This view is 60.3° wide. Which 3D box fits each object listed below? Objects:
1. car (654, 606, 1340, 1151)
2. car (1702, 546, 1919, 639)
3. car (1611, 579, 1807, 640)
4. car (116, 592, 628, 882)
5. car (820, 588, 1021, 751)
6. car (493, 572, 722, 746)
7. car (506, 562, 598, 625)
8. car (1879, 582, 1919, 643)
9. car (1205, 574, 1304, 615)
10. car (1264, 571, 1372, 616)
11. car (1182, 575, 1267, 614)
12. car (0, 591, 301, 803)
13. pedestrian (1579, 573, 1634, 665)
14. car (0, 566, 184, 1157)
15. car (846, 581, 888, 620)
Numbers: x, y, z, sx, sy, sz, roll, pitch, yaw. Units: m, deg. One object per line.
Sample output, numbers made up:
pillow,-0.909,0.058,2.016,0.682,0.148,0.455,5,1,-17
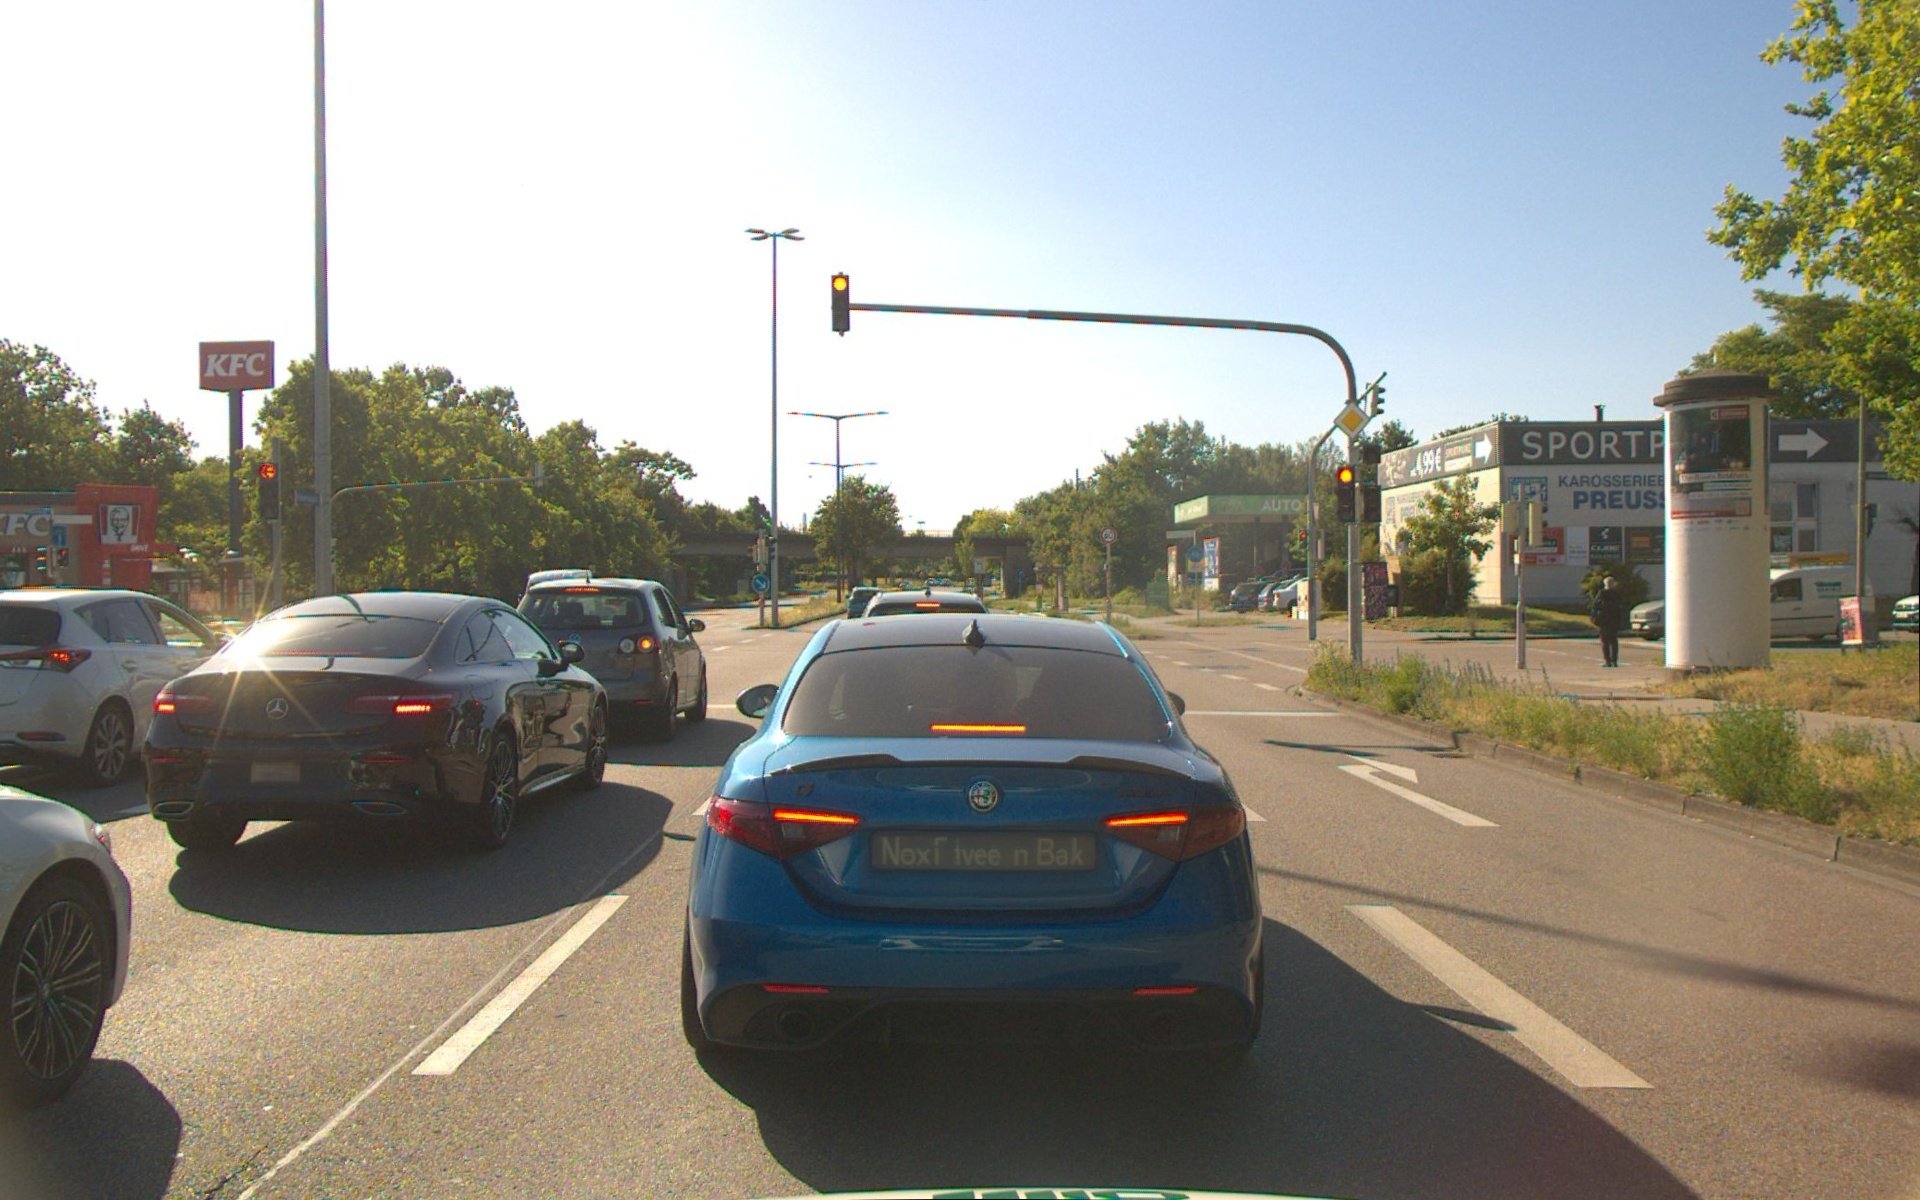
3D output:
car,0.075,0.754,6.390,1.828,1.409,3.931,0,0,-1
car,20.602,-0.184,40.162,4.318,2.183,1.998,0,0,-4
car,19.758,0.231,43.731,4.318,1.580,1.998,0,0,-4
car,-3.411,0.678,10.569,1.732,1.439,4.460,0,0,-1
car,-0.390,0.618,17.055,1.828,1.475,3.931,0,0,-1
car,-3.581,0.534,17.442,1.615,1.626,3.931,0,0,-1
car,-16.592,-0.277,67.528,2.382,2.469,5.830,0,1,-1
car,26.977,0.318,43.730,4.318,1.580,1.998,0,0,-4
car,12.668,-0.254,71.155,3.928,1.736,1.686,0,0,-20
car,14.341,-0.266,66.325,3.924,1.736,1.687,0,0,-17
car,11.873,-0.247,74.333,3.428,1.736,1.688,0,0,-17
car,-7.191,0.660,13.621,1.819,1.454,4.403,0,0,-1
pedestrian,12.570,0.361,32.197,0.805,1.752,0.854,0,0,6
car,-3.345,0.690,3.096,1.732,1.535,4.460,0,0,-1
car,-3.988,0.014,71.384,1.782,1.622,4.048,0,0,-3
